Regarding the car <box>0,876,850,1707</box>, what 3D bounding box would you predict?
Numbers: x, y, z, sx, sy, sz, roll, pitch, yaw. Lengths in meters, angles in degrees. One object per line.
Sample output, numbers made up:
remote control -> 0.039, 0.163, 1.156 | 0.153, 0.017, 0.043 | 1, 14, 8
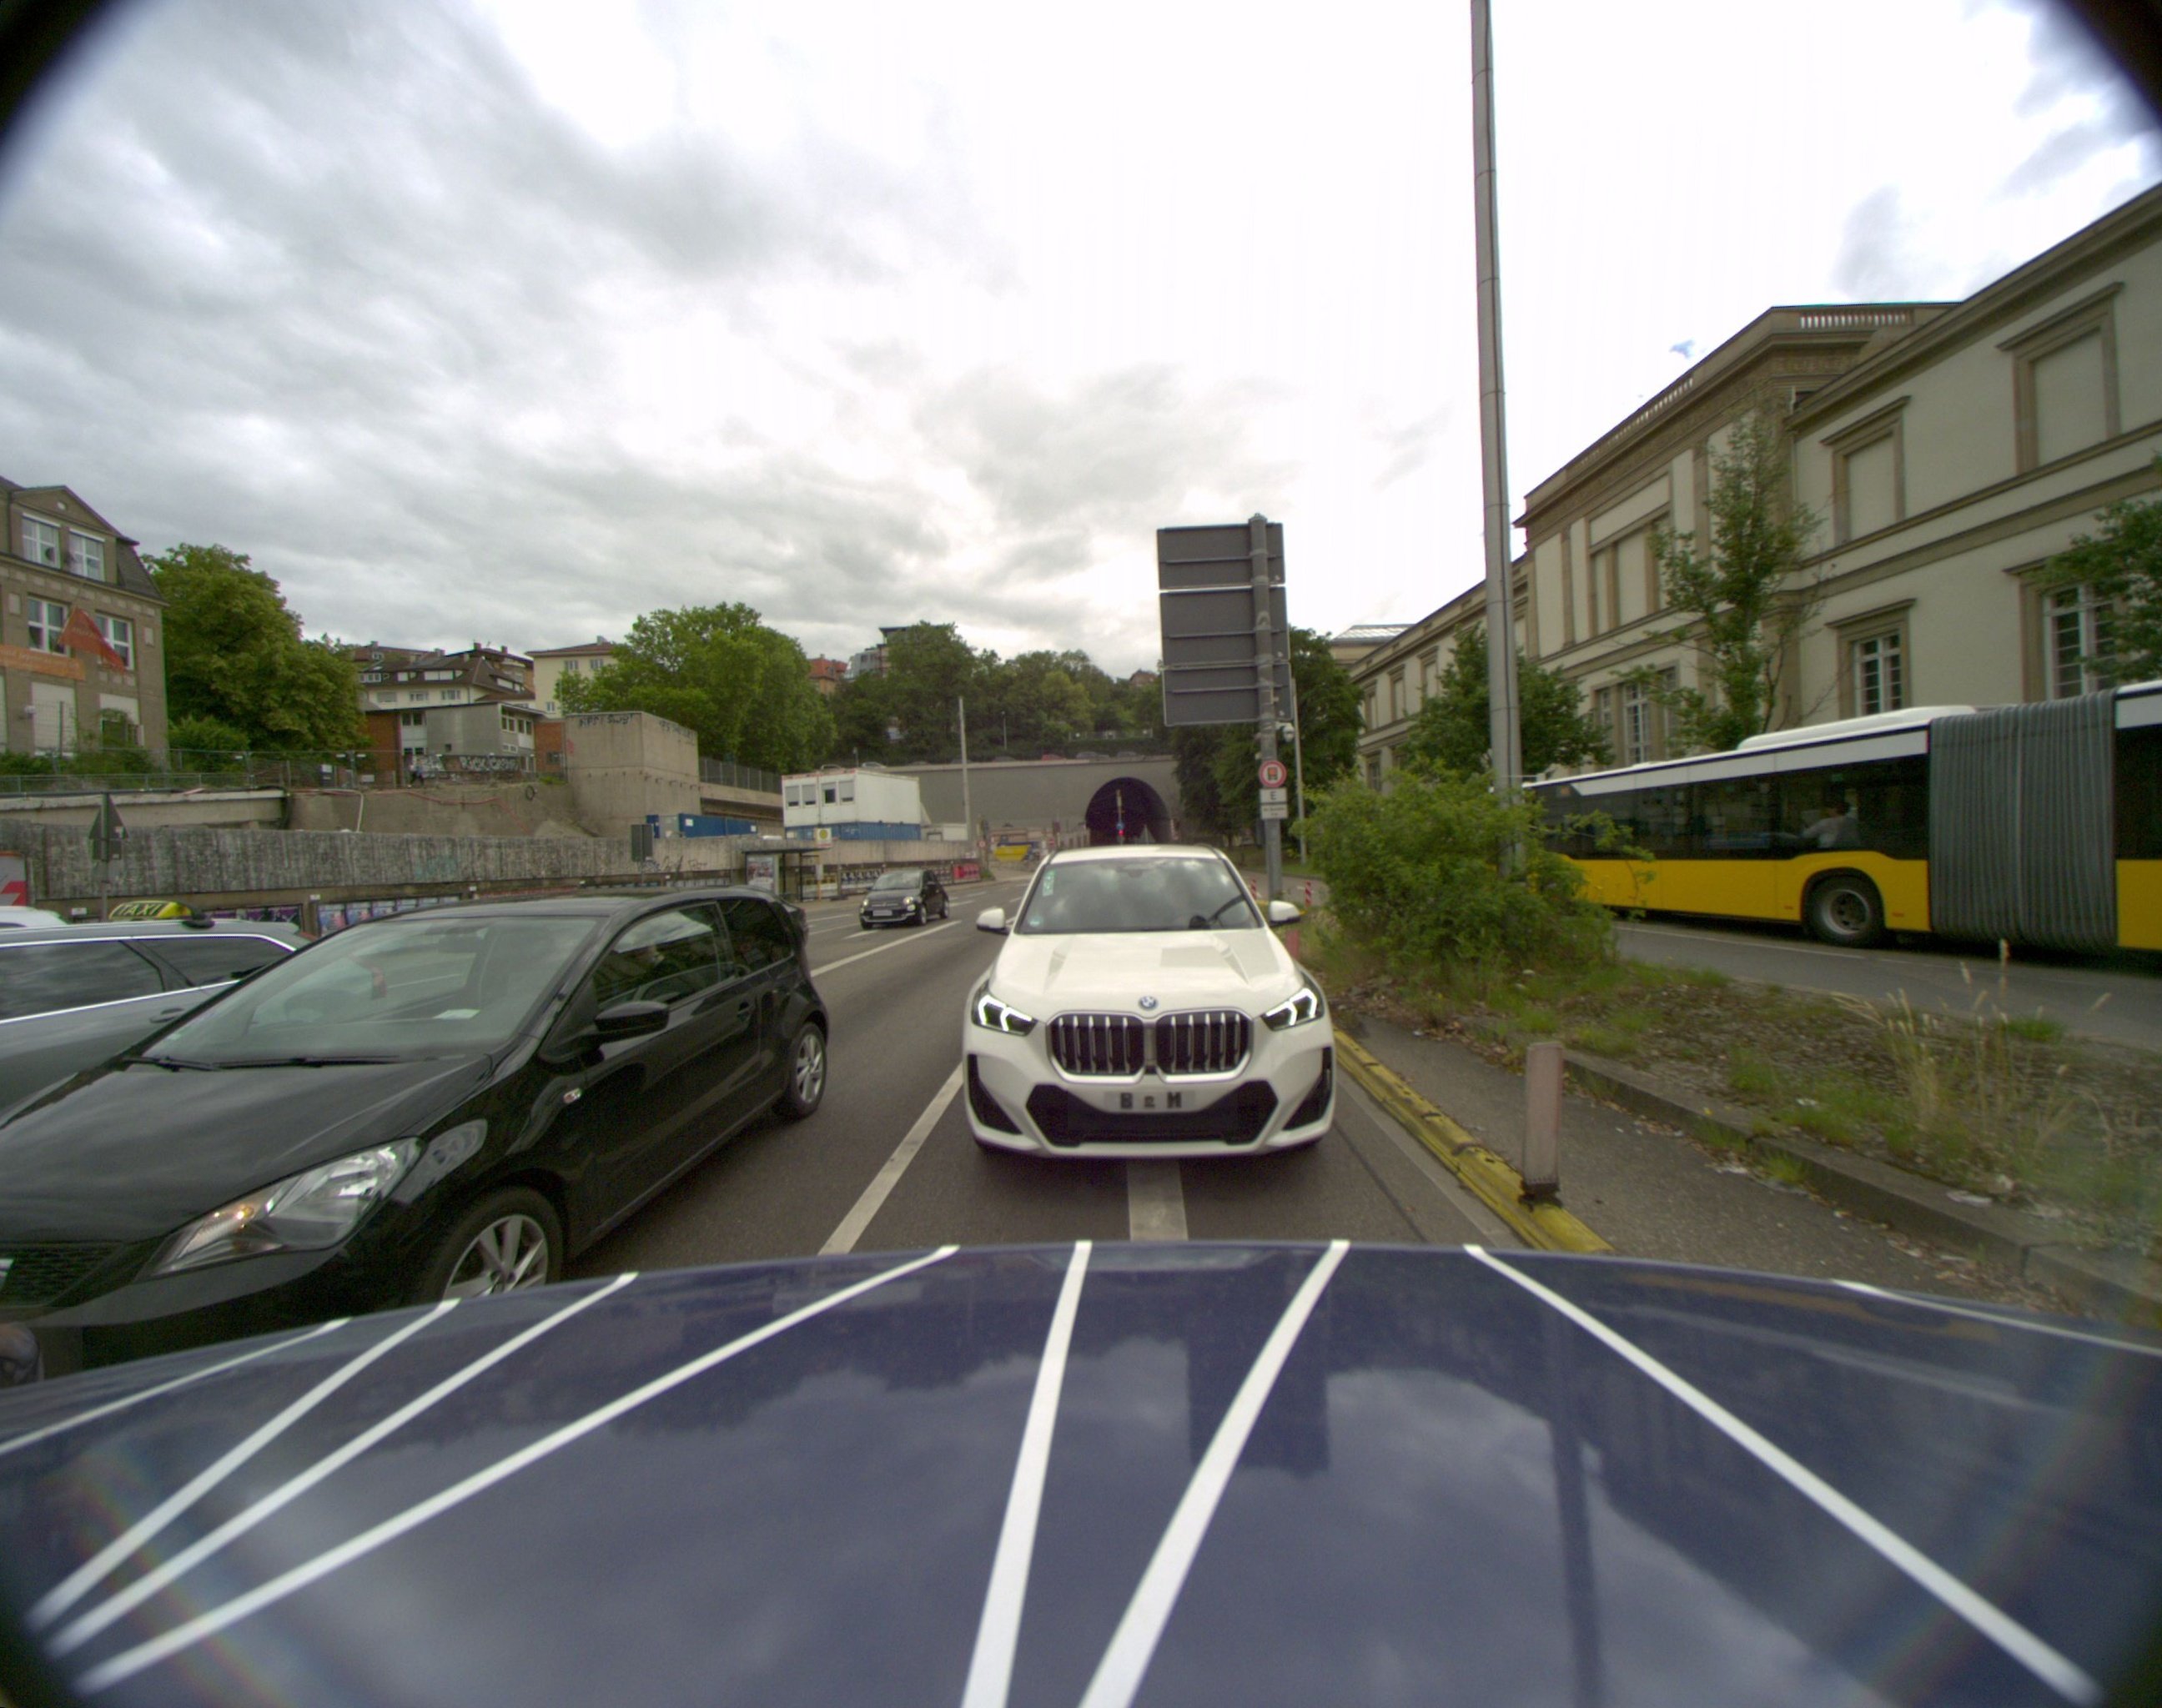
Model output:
car -> -2.528, 0.980, 3.276 | 1.661, 1.547, 3.911 | -2, 1, 3

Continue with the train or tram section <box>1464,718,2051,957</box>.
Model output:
train or tram section -> 11.153, -0.224, 14.535 | 2.701, 3.053, 9.375 | -1, 0, -1

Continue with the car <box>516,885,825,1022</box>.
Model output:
car -> -5.398, 1.227, 10.761 | 1.826, 1.356, 4.219 | -2, 0, 4

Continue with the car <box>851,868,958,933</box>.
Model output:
car -> -4.645, 1.187, 20.549 | 1.720, 1.450, 3.782 | -3, 0, 4

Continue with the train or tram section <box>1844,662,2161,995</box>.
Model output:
train or tram section -> 11.246, -0.251, 5.194 | 2.700, 3.053, 9.336 | -1, 0, 0

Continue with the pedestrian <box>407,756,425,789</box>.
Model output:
pedestrian -> -37.344, -4.554, 42.672 | 0.553, 1.784, 0.570 | -1, 1, 36

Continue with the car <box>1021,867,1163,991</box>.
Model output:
car -> 0.222, 0.992, 11.599 | 1.756, 1.427, 3.911 | -2, 0, 3

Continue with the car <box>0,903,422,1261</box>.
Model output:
car -> -5.823, 1.144, 3.455 | 1.826, 1.457, 4.217 | -2, 1, 2

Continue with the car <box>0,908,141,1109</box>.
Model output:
car -> -9.150, 1.259, 4.580 | 1.826, 1.457, 4.073 | -2, 1, 0

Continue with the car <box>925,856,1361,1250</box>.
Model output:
car -> 0.340, 0.849, 5.123 | 1.756, 1.547, 3.911 | -2, 1, 3
